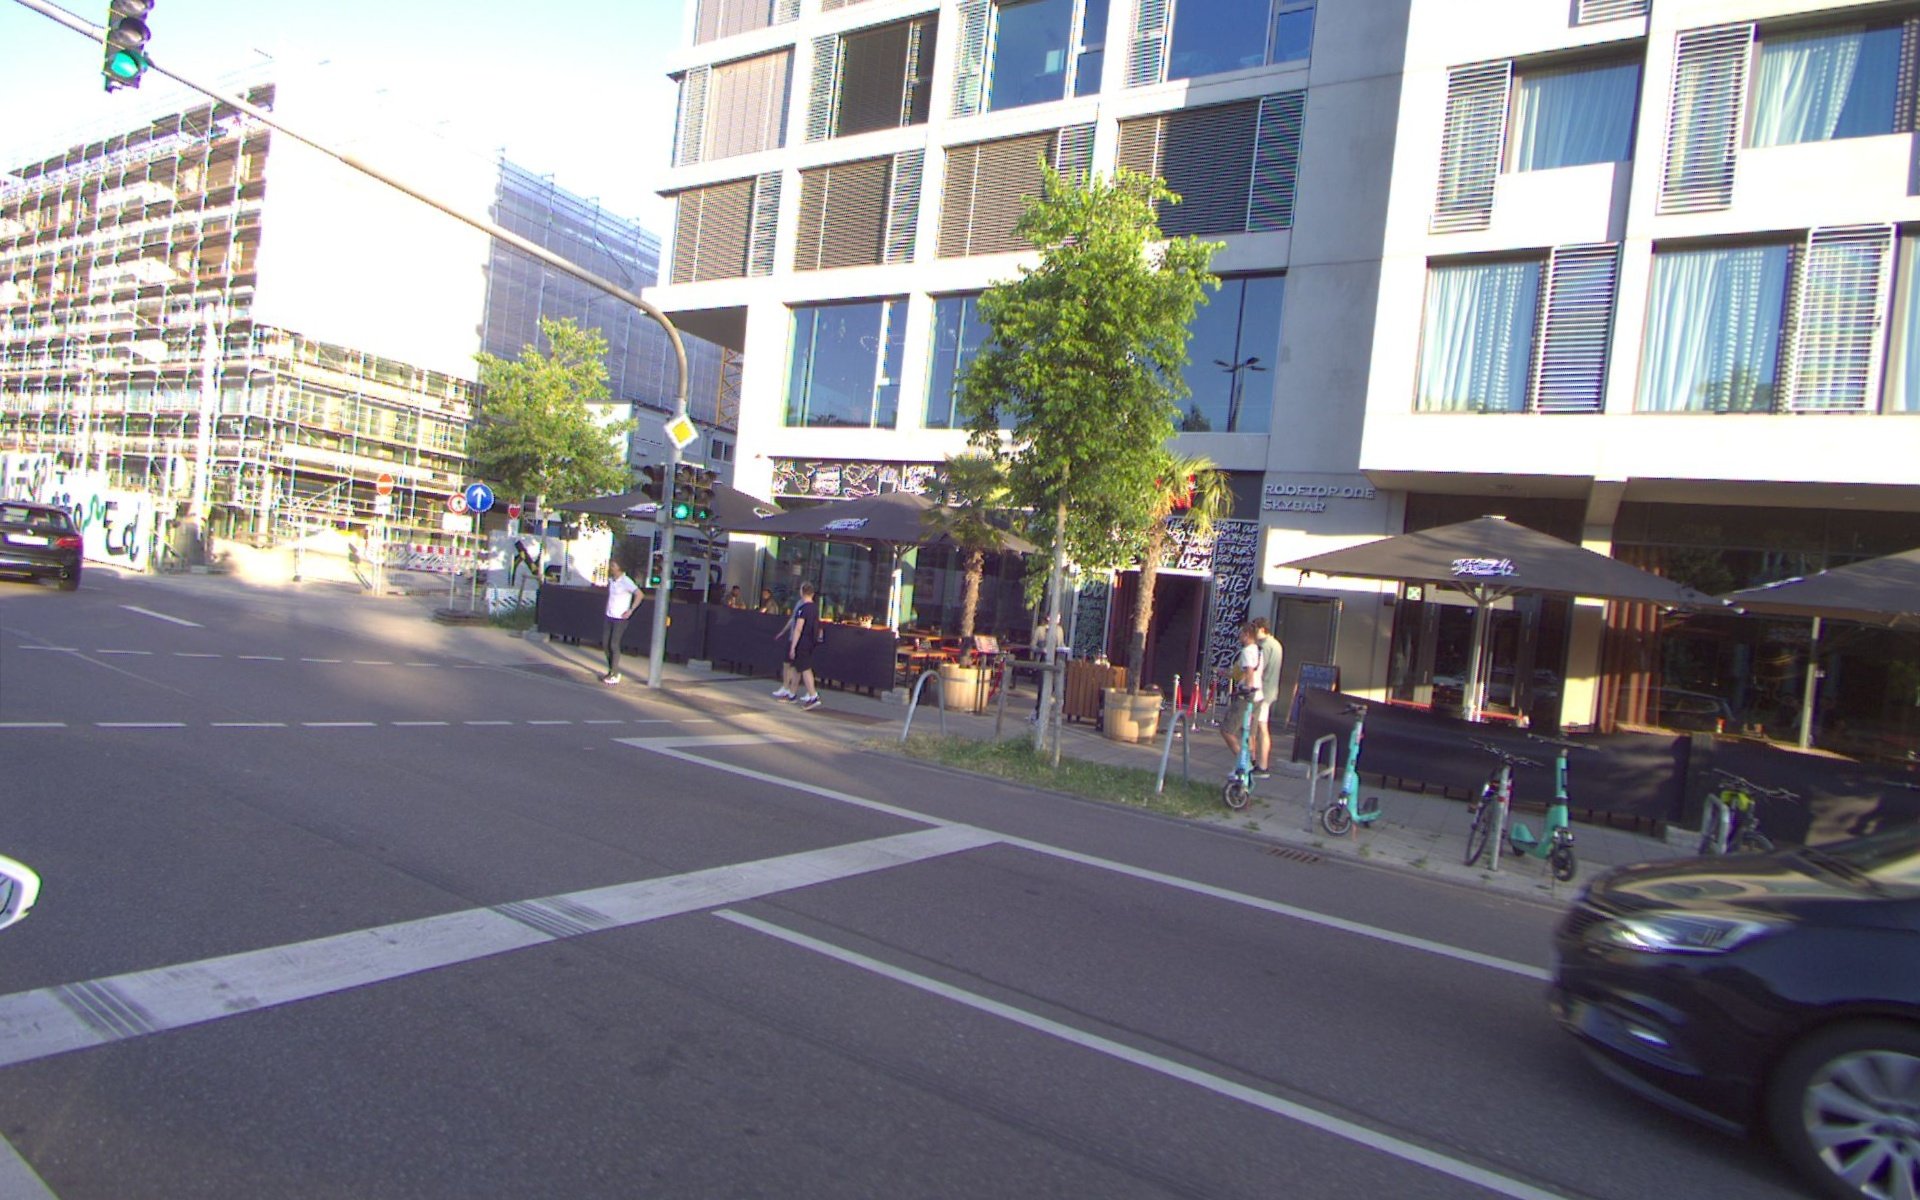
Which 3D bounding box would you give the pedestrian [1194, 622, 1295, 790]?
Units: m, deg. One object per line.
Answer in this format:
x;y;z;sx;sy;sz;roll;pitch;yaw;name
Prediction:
3.294;1.201;11.660;0.817;1.810;0.575;6;2;41;pedestrian

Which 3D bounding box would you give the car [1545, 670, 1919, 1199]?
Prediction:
4.493;1.351;3.265;4.293;1.617;1.827;7;-1;30;car

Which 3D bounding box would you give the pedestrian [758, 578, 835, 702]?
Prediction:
-2.453;0.593;15.134;0.748;1.758;0.685;7;3;29;pedestrian

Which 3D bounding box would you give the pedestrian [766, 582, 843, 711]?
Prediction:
-2.204;0.649;14.272;0.677;1.725;0.654;7;3;29;pedestrian

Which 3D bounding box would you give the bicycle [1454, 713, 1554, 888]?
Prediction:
4.866;1.733;9.088;0.557;1.209;1.796;7;2;25;bicycle

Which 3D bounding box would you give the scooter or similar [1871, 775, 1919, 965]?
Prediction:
7.267;1.997;7.431;0.501;1.207;1.156;5;1;31;scooter or similar

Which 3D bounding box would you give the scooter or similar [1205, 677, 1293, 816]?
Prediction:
2.998;1.475;10.391;0.588;1.240;1.053;7;2;26;scooter or similar

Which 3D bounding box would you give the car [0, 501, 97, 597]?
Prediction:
-18.293;-1.109;19.101;4.718;1.536;1.821;6;-1;37;car

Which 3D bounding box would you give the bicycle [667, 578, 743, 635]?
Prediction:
-6.493;0.164;25.575;1.923;1.224;0.543;6;-1;32;bicycle

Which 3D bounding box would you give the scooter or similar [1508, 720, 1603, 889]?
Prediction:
5.201;1.744;8.844;0.471;1.217;1.211;7;2;25;scooter or similar

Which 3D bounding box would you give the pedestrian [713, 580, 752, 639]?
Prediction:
-5.438;0.219;24.039;0.610;1.337;0.613;2;4;-42;pedestrian

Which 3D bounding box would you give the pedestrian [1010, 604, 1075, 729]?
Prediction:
1.215;0.955;14.737;0.567;1.726;0.855;7;2;21;pedestrian

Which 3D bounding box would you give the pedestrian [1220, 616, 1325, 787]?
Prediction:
3.785;1.195;12.182;0.853;1.913;0.823;6;2;36;pedestrian

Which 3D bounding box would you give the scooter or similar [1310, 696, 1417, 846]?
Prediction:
3.850;1.585;9.568;0.541;1.240;1.059;7;3;39;scooter or similar

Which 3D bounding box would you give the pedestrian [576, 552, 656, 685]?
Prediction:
-5.139;0.271;15.056;0.756;1.871;0.678;6;2;8;pedestrian

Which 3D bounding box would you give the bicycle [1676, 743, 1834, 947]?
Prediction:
6.354;1.888;8.138;0.598;1.197;1.848;7;2;29;bicycle

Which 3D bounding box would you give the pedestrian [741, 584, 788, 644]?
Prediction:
-4.600;0.326;23.649;0.704;1.337;0.743;8;4;43;pedestrian
